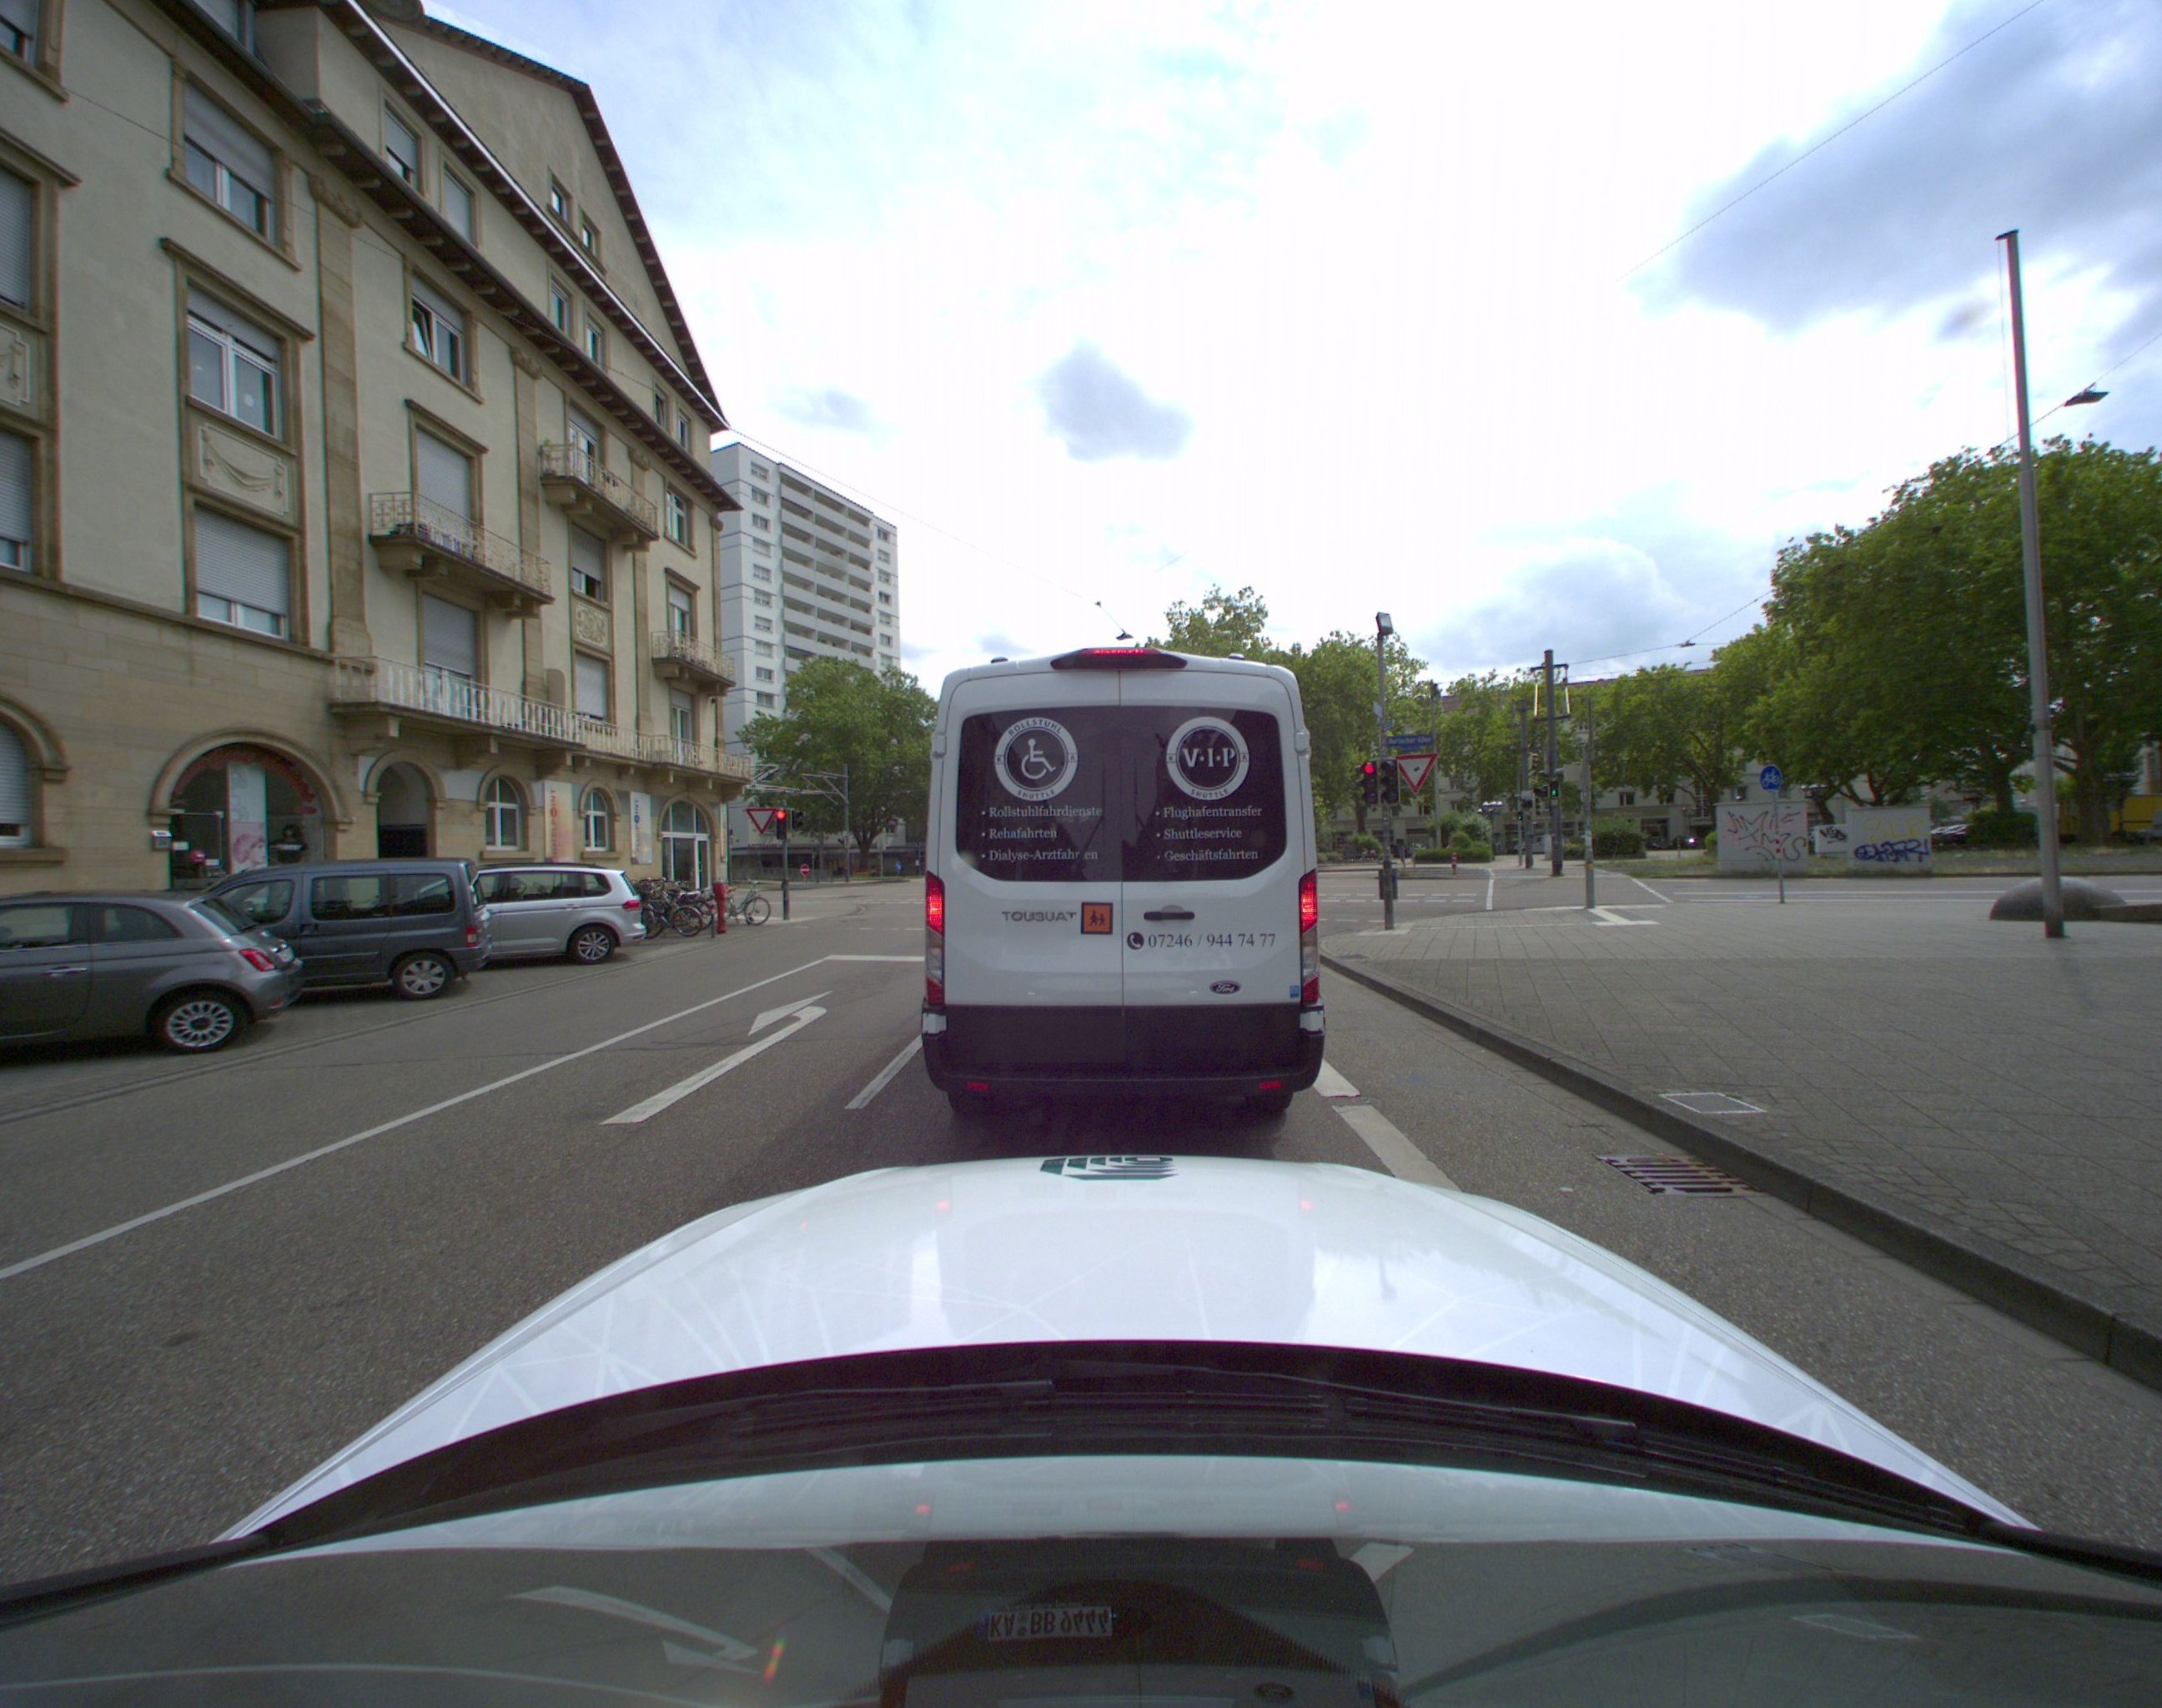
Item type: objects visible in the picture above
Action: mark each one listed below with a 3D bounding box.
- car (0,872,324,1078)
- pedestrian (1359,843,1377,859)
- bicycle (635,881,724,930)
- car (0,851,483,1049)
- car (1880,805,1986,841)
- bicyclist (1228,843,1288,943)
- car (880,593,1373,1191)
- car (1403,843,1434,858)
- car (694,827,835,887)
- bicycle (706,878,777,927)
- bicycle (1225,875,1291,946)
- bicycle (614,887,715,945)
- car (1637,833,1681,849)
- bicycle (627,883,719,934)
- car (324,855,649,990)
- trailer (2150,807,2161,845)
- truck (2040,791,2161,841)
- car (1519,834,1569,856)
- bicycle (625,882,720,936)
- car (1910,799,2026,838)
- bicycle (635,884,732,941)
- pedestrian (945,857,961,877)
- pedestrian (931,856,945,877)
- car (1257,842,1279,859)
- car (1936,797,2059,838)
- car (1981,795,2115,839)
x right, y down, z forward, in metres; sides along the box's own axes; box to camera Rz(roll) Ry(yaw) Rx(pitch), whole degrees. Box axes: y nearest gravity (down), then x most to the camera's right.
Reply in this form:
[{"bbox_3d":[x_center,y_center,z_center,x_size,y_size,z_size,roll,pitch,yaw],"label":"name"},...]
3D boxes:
[{"bbox_3d":[-9.800,1.079,7.426,4.031,1.651,1.776,-2,0,-37],"label":"car"},{"bbox_3d":[24.700,-0.260,70.006,1.086,1.236,1.443,-4,-1,6],"label":"pedestrian"},{"bbox_3d":[-9.640,1.230,19.611,1.807,1.120,0.593,0,0,-6],"label":"bicycle"},{"bbox_3d":[-9.903,0.974,10.035,4.031,1.878,1.776,-2,0,-37],"label":"car"},{"bbox_3d":[68.913,-2.495,66.013,5.271,2.585,2.512,-2,-1,24],"label":"car"},{"bbox_3d":[3.097,0.667,14.227,0.896,1.683,0.760,-2,0,17],"label":"bicyclist"},{"bbox_3d":[0.232,0.132,5.921,2.174,2.647,4.629,0,1,0],"label":"car"},{"bbox_3d":[36.261,-0.412,87.518,1.983,1.503,4.008,-2,0,7],"label":"car"},{"bbox_3d":[-22.425,0.258,57.594,9.793,3.915,3.476,-2,0,26],"label":"car"},{"bbox_3d":[-8.639,1.217,20.705,1.859,1.167,0.500,0,0,22],"label":"bicycle"},{"bbox_3d":[3.121,0.943,14.232,0.895,1.075,1.979,-2,0,18],"label":"bicycle"},{"bbox_3d":[-8.615,1.276,16.866,1.799,1.120,0.595,-2,0,8],"label":"bicycle"},{"bbox_3d":[55.707,-1.226,78.537,1.757,1.503,4.008,-2,0,7],"label":"car"},{"bbox_3d":[-9.456,1.255,18.909,1.807,1.120,0.593,0,0,-6],"label":"bicycle"},{"bbox_3d":[-9.490,0.973,13.322,4.031,1.773,1.776,-2,0,-37],"label":"car"},{"bbox_3d":[55.434,-1.451,39.225,4.381,1.925,1.865,-2,0,26],"label":"trailer"},{"bbox_3d":[58.623,-2.098,46.166,3.042,2.577,6.549,-2,0,25],"label":"truck"},{"bbox_3d":[44.109,-0.874,77.632,3.950,1.883,1.868,-2,0,26],"label":"car"},{"bbox_3d":[-9.150,1.218,18.289,1.807,1.166,0.593,0,0,-6],"label":"bicycle"},{"bbox_3d":[66.668,-2.637,61.360,5.271,2.585,2.512,-2,-1,24],"label":"car"},{"bbox_3d":[-8.547,1.240,17.537,1.800,1.120,0.595,2,0,5],"label":"bicycle"},{"bbox_3d":[-9.984,1.027,63.473,0.922,1.514,0.727,-2,0,16],"label":"pedestrian"},{"bbox_3d":[-11.170,0.998,63.677,0.801,1.572,0.727,-2,0,16],"label":"pedestrian"},{"bbox_3d":[21.697,-0.396,94.612,1.983,1.930,4.008,-2,0,7],"label":"car"},{"bbox_3d":[65.724,-2.574,58.543,5.271,2.585,2.512,-2,-1,24],"label":"car"},{"bbox_3d":[64.430,-2.435,54.388,5.271,2.585,2.192,-2,-1,24],"label":"car"}]
